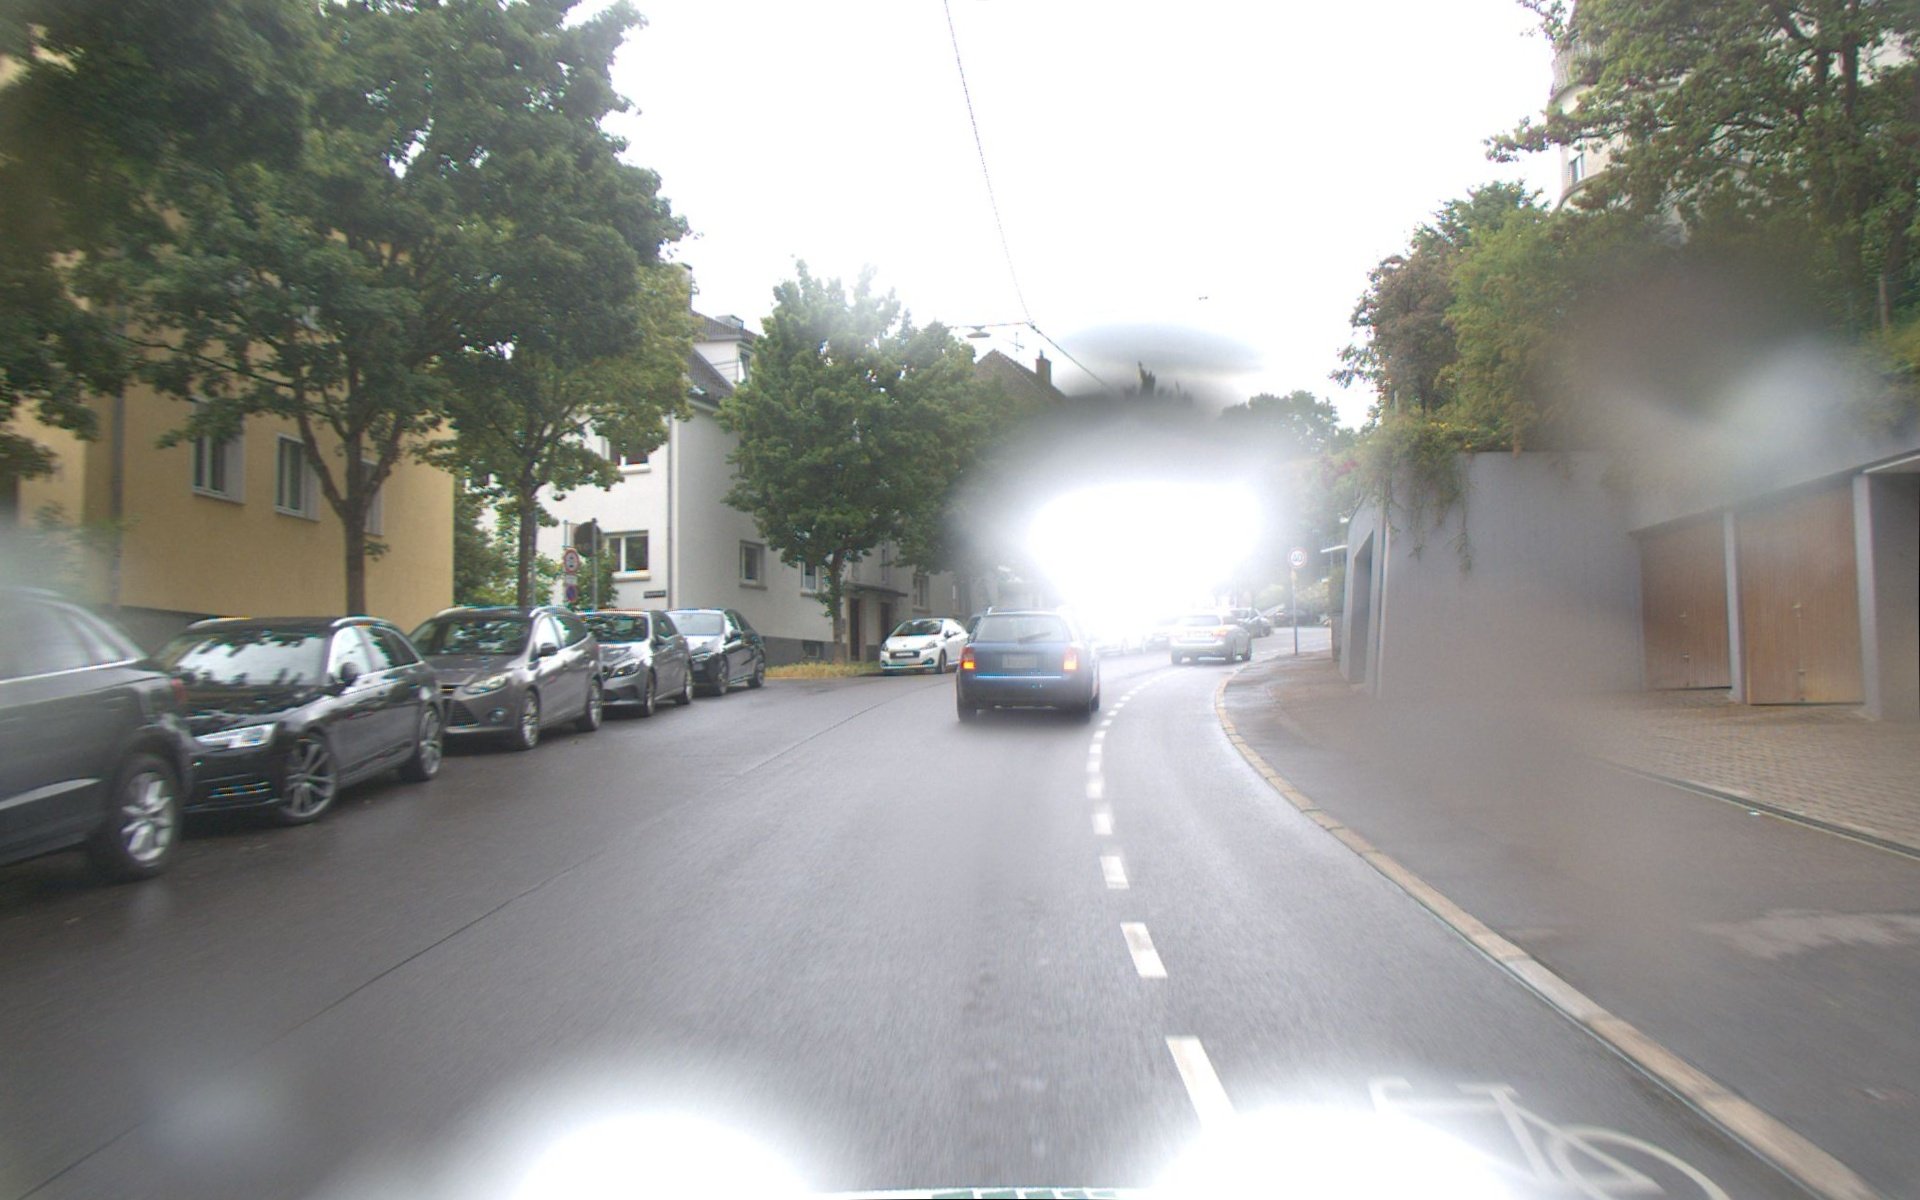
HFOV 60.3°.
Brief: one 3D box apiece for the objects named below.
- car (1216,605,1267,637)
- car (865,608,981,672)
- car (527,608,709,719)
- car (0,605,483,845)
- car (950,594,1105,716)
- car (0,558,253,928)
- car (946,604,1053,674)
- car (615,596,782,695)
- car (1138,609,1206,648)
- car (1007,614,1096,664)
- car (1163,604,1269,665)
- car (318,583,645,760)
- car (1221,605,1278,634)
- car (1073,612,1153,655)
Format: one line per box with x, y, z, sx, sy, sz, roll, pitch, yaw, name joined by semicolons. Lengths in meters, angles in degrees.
14.173;1.052;83.116;1.678;1.488;3.881;0;1;22;car
-0.924;1.099;44.561;1.747;1.541;4.347;-4;-3;17;car
-4.766;0.831;23.614;1.580;1.421;4.323;-1;0;1;car
-5.280;0.811;12.962;1.816;1.525;4.739;0;0;-2;car
1.005;0.681;22.235;1.815;1.439;4.364;-2;0;5;car
-5.310;0.666;7.800;1.815;1.697;4.589;-1;-1;2;car
1.264;1.213;50.459;1.874;2.036;4.548;-1;-2;21;car
-4.444;0.753;28.788;1.737;1.567;4.519;0;-1;6;car
9.034;1.237;70.142;1.767;1.579;4.799;-1;-2;21;car
3.096;1.309;55.107;1.767;1.512;4.236;-4;-3;20;car
7.230;0.927;46.436;1.911;1.588;4.261;2;1;23;car
-5.126;0.706;18.453;1.814;1.720;4.558;0;0;8;car
15.342;1.065;87.745;1.955;1.415;4.193;-1;-1;-5;car
5.607;1.234;60.151;1.767;1.479;4.596;-1;-2;21;car
